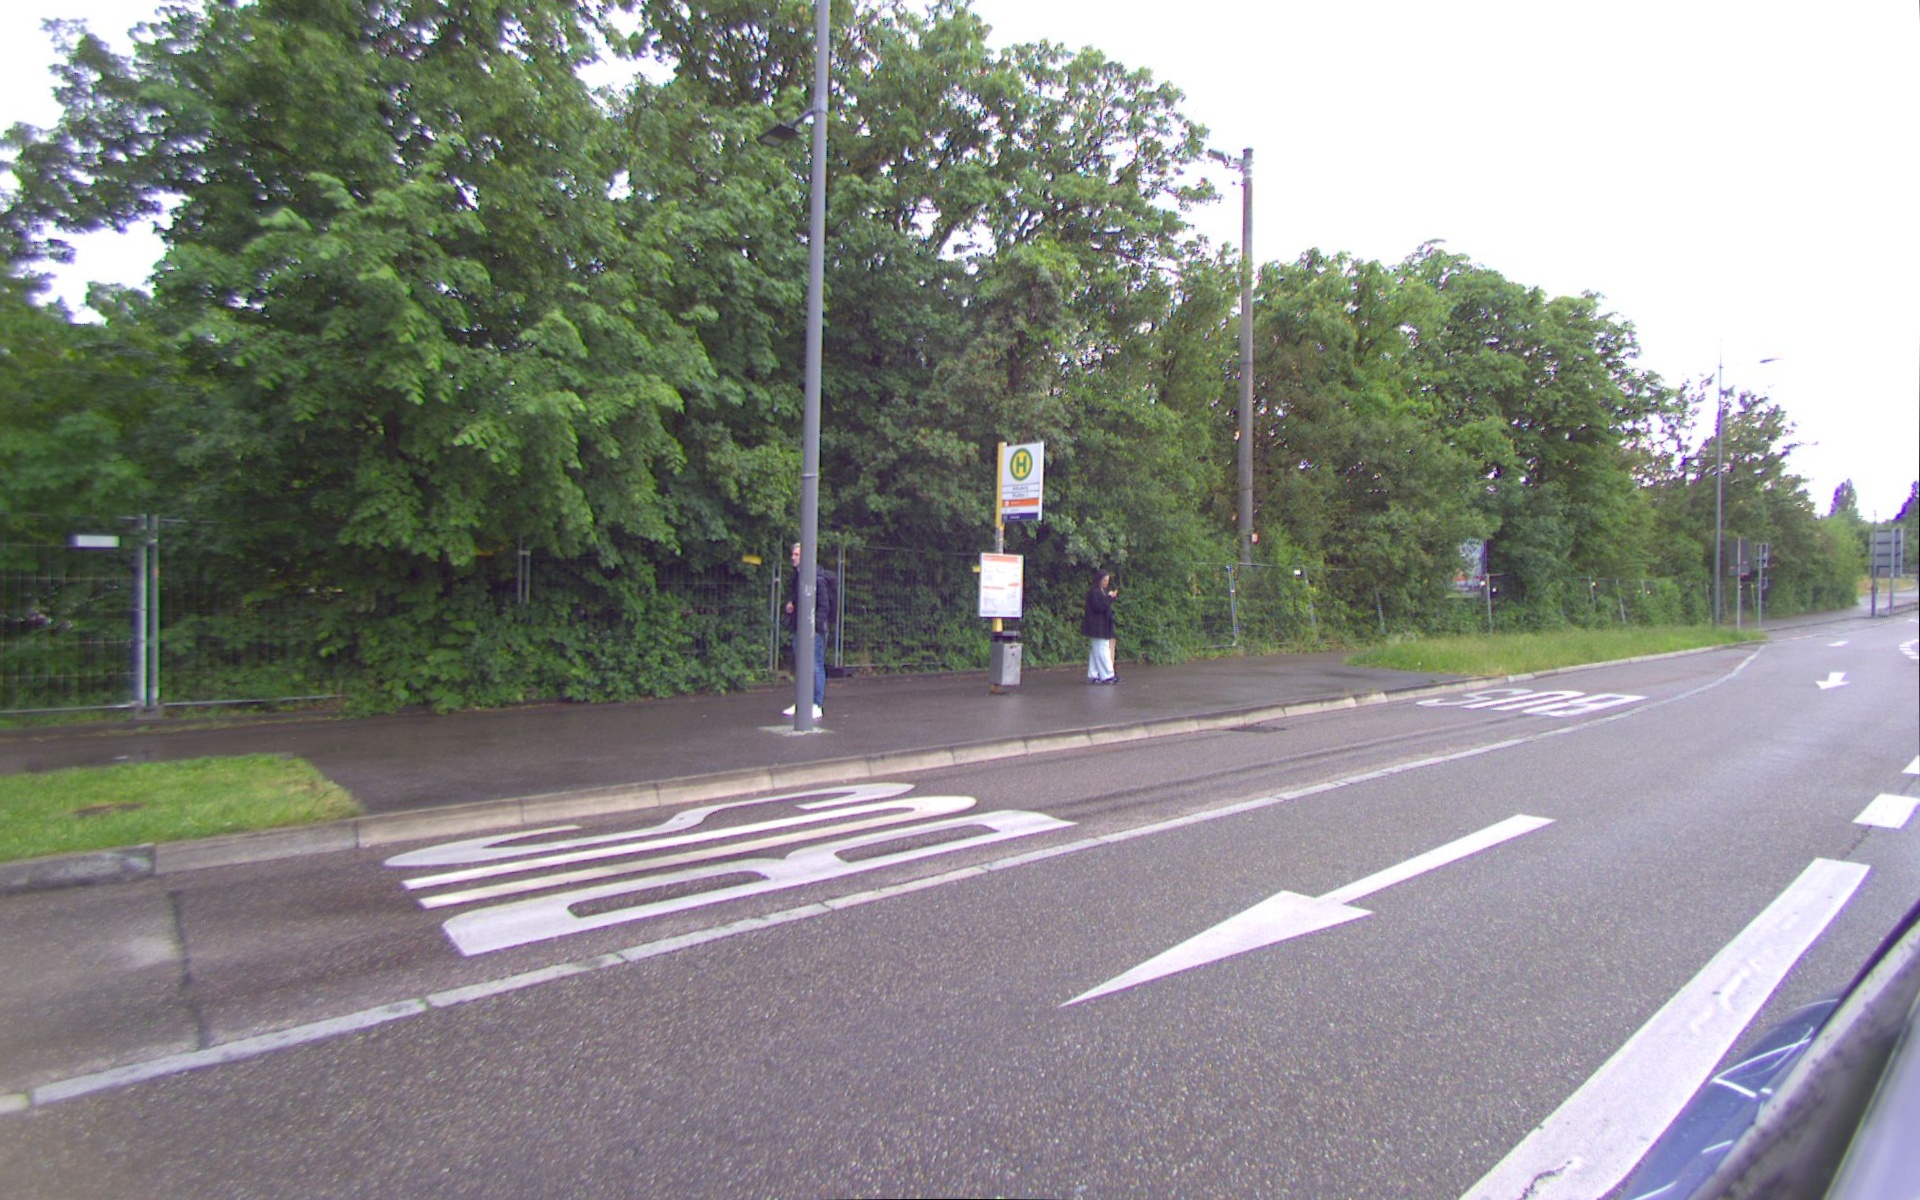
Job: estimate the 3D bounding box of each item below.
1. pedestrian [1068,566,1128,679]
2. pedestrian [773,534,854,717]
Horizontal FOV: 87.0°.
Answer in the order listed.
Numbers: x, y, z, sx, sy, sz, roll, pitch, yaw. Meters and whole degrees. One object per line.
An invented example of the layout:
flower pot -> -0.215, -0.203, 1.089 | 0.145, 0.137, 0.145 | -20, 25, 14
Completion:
pedestrian -> 2.077, 0.326, 15.223 | 0.650, 1.648, 0.588 | 0, 1, -40
pedestrian -> -1.646, 0.263, 11.358 | 0.587, 1.973, 0.742 | 0, 1, -40
